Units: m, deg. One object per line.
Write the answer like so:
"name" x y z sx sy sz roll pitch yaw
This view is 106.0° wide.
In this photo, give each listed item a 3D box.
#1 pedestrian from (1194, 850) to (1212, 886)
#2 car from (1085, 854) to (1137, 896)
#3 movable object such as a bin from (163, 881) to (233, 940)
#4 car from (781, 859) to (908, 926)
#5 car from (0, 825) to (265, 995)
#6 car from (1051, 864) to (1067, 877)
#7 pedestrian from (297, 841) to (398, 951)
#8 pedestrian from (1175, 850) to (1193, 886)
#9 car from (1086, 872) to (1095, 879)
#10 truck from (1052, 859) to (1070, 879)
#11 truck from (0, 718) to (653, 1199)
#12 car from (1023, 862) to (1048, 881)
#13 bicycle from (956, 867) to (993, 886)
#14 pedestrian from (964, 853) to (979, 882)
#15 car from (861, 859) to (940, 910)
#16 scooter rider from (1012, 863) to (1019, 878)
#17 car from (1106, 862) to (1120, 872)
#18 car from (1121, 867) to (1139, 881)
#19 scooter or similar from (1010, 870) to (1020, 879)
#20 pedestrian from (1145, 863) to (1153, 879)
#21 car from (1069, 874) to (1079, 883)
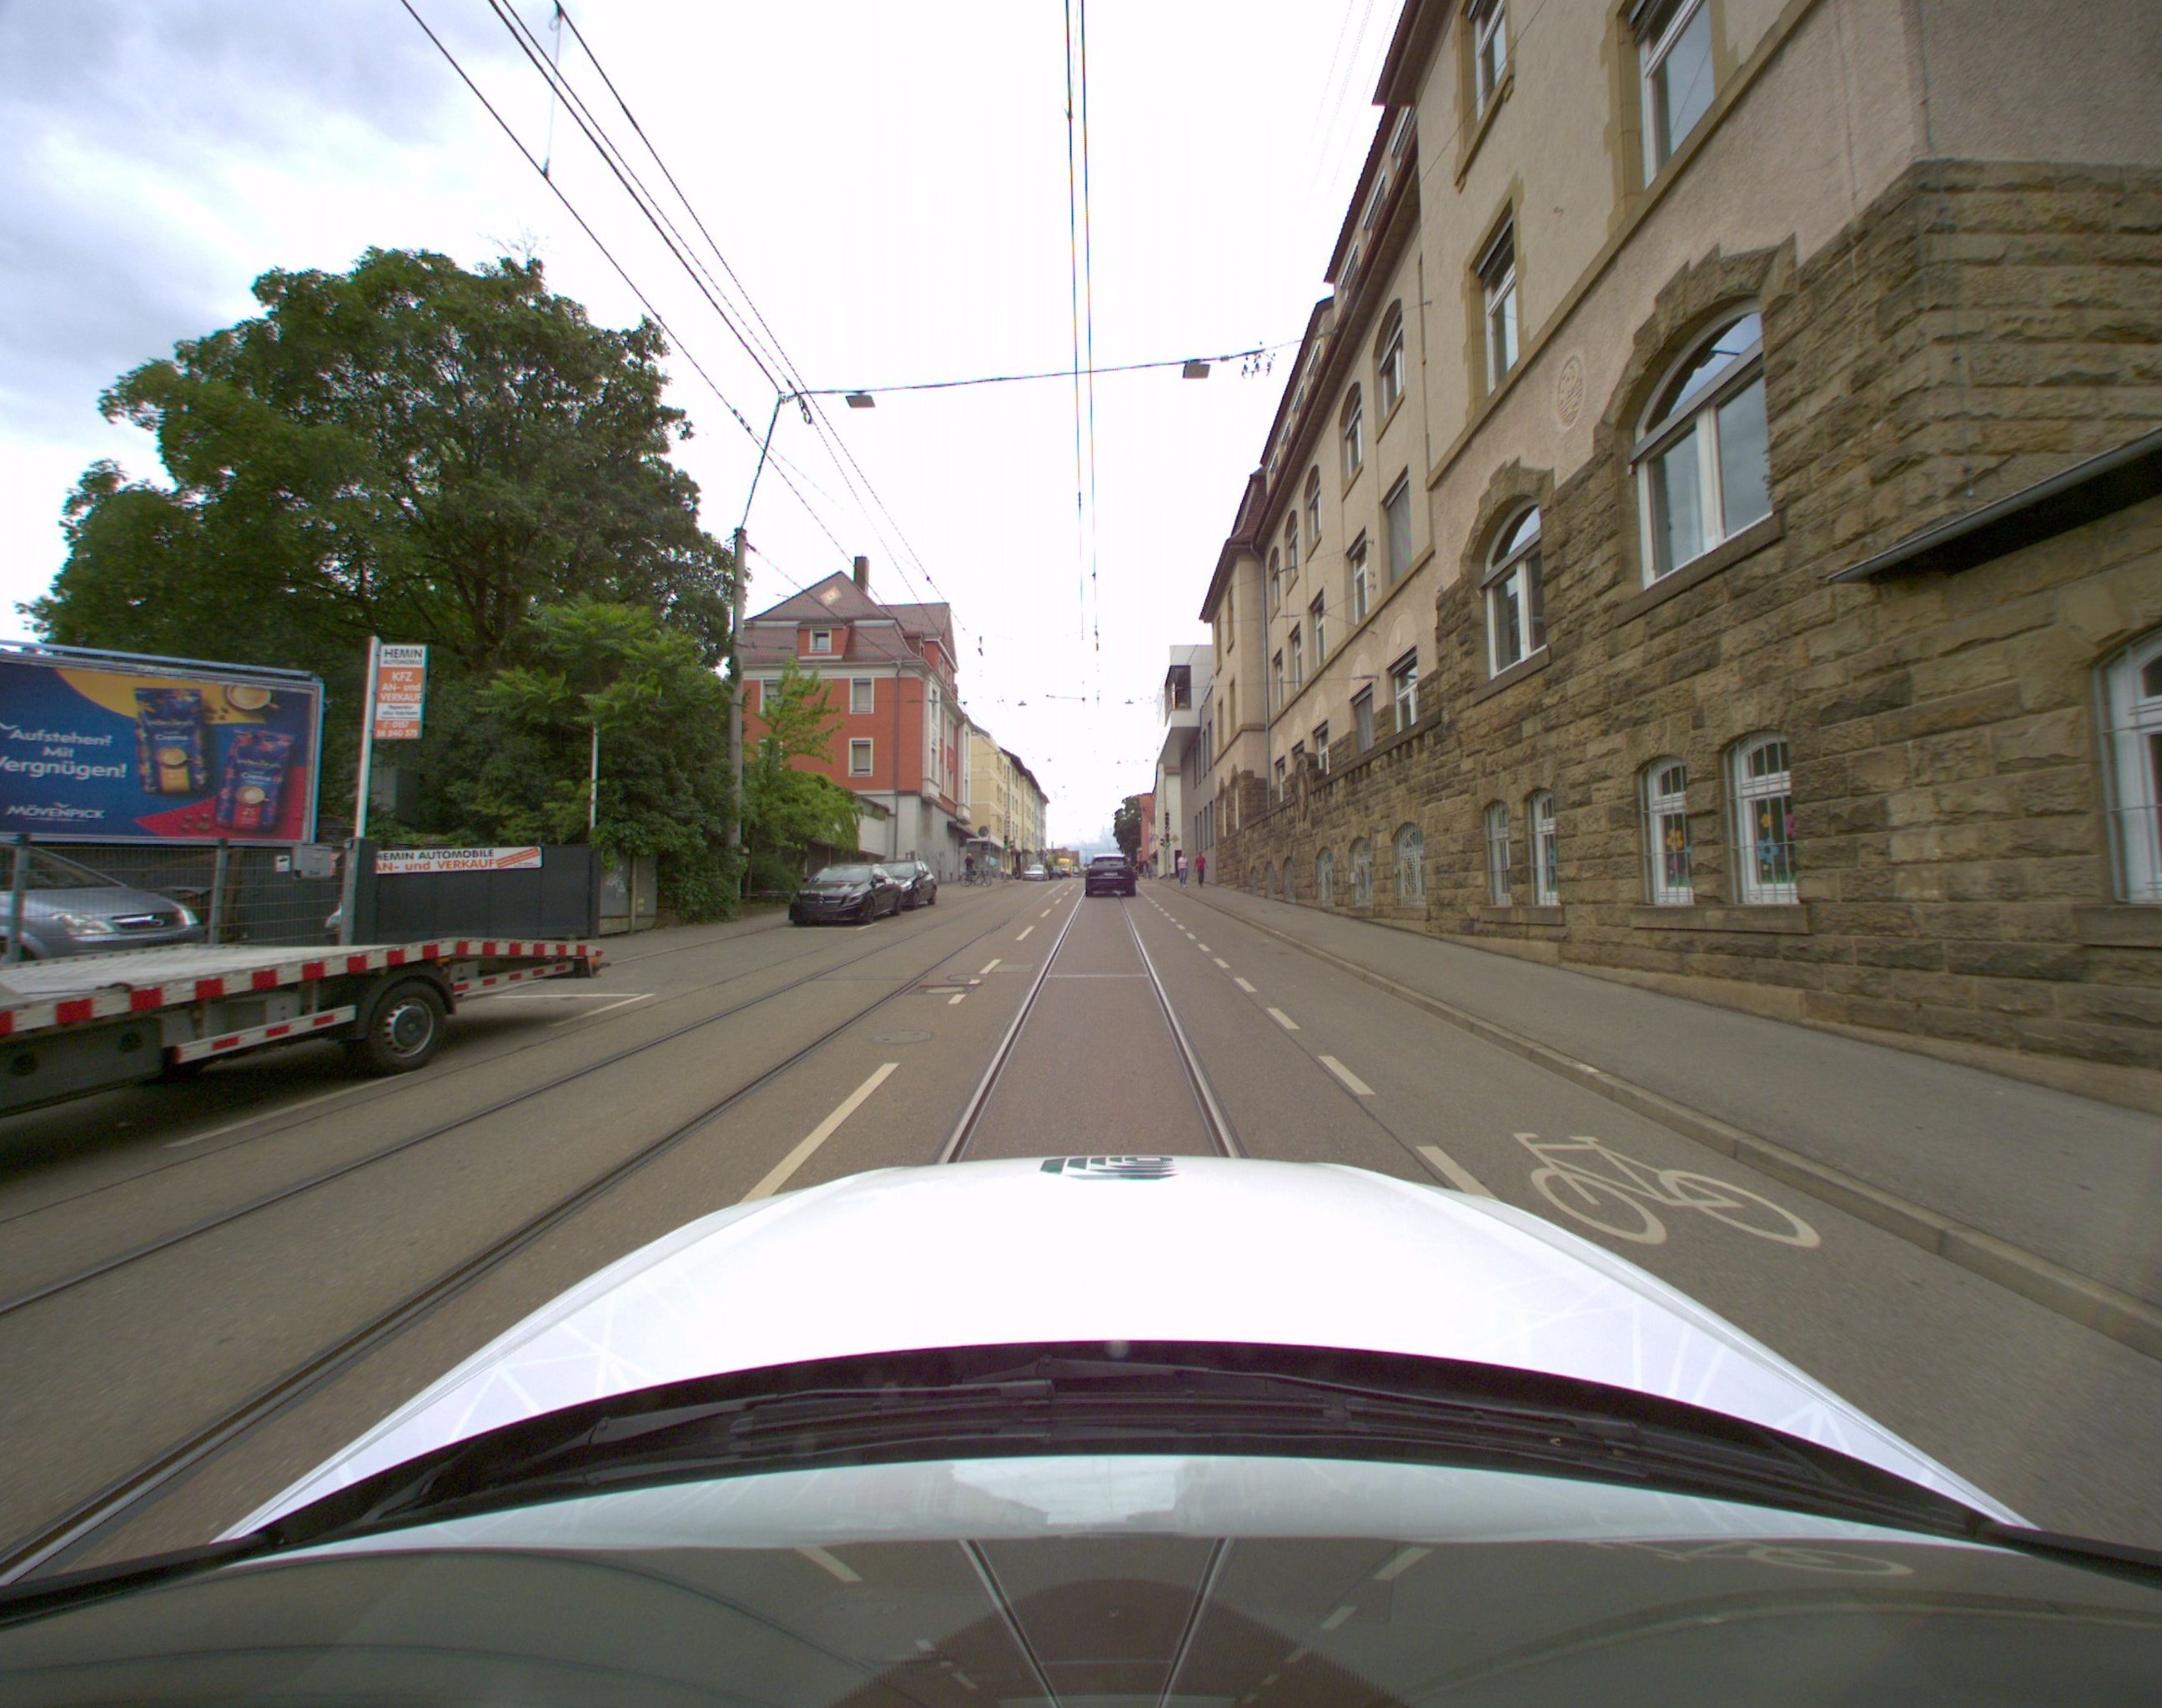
"pedestrian" 5.739 0.651 38.401 0.788 1.667 0.799 -1 -1 3
"car" 1.220 0.800 33.069 1.986 1.563 4.291 -1 0 2
"movable object such as a bin" -14.013 0.884 12.947 0.579 0.877 0.725 0 -1 -32
"car" -5.638 0.865 19.961 1.706 1.446 4.291 -1 0 2
"car" -11.069 0.519 8.009 3.965 1.551 1.680 0 0 -14
"car" -2.780 2.109 105.538 1.848 1.607 4.298 -1 0 1
"pedestrian" -11.300 0.637 12.572 0.769 1.634 0.841 -1 -1 5
"pedestrian" 4.845 0.656 38.418 0.788 1.667 0.799 -1 -1 3
"car" 2.052 4.641 177.106 1.986 1.563 4.291 -1 0 2
"truck" -2.991 2.254 125.824 2.294 3.037 9.035 0 -1 1
"truck" -6.004 0.490 4.931 2.271 2.188 8.029 -1 0 3
"car" -4.077 1.565 73.114 1.848 1.607 4.298 -1 0 1
"bicycle" -5.668 1.197 43.407 1.904 1.000 0.479 -1 -1 1
"pedestrian" -6.758 0.816 50.227 0.772 1.776 0.650 -1 -1 2
"car" -5.495 0.882 25.207 1.509 1.446 3.711 -1 0 2
"scooter rider" -7.113 1.816 88.233 0.646 1.586 0.765 0 0 -3
"car" 4.977 2.046 126.915 1.986 1.563 4.291 -1 0 2
"car" 5.451 2.220 91.143 1.986 1.563 4.291 -1 0 2
"scooter or similar" -7.158 2.253 88.136 1.025 0.919 0.472 -1 -1 -3
"pedestrian" 7.489 1.884 89.640 0.788 1.667 0.799 -1 -1 3
"car" -1.344 4.820 160.614 1.848 1.607 4.298 -1 0 1
